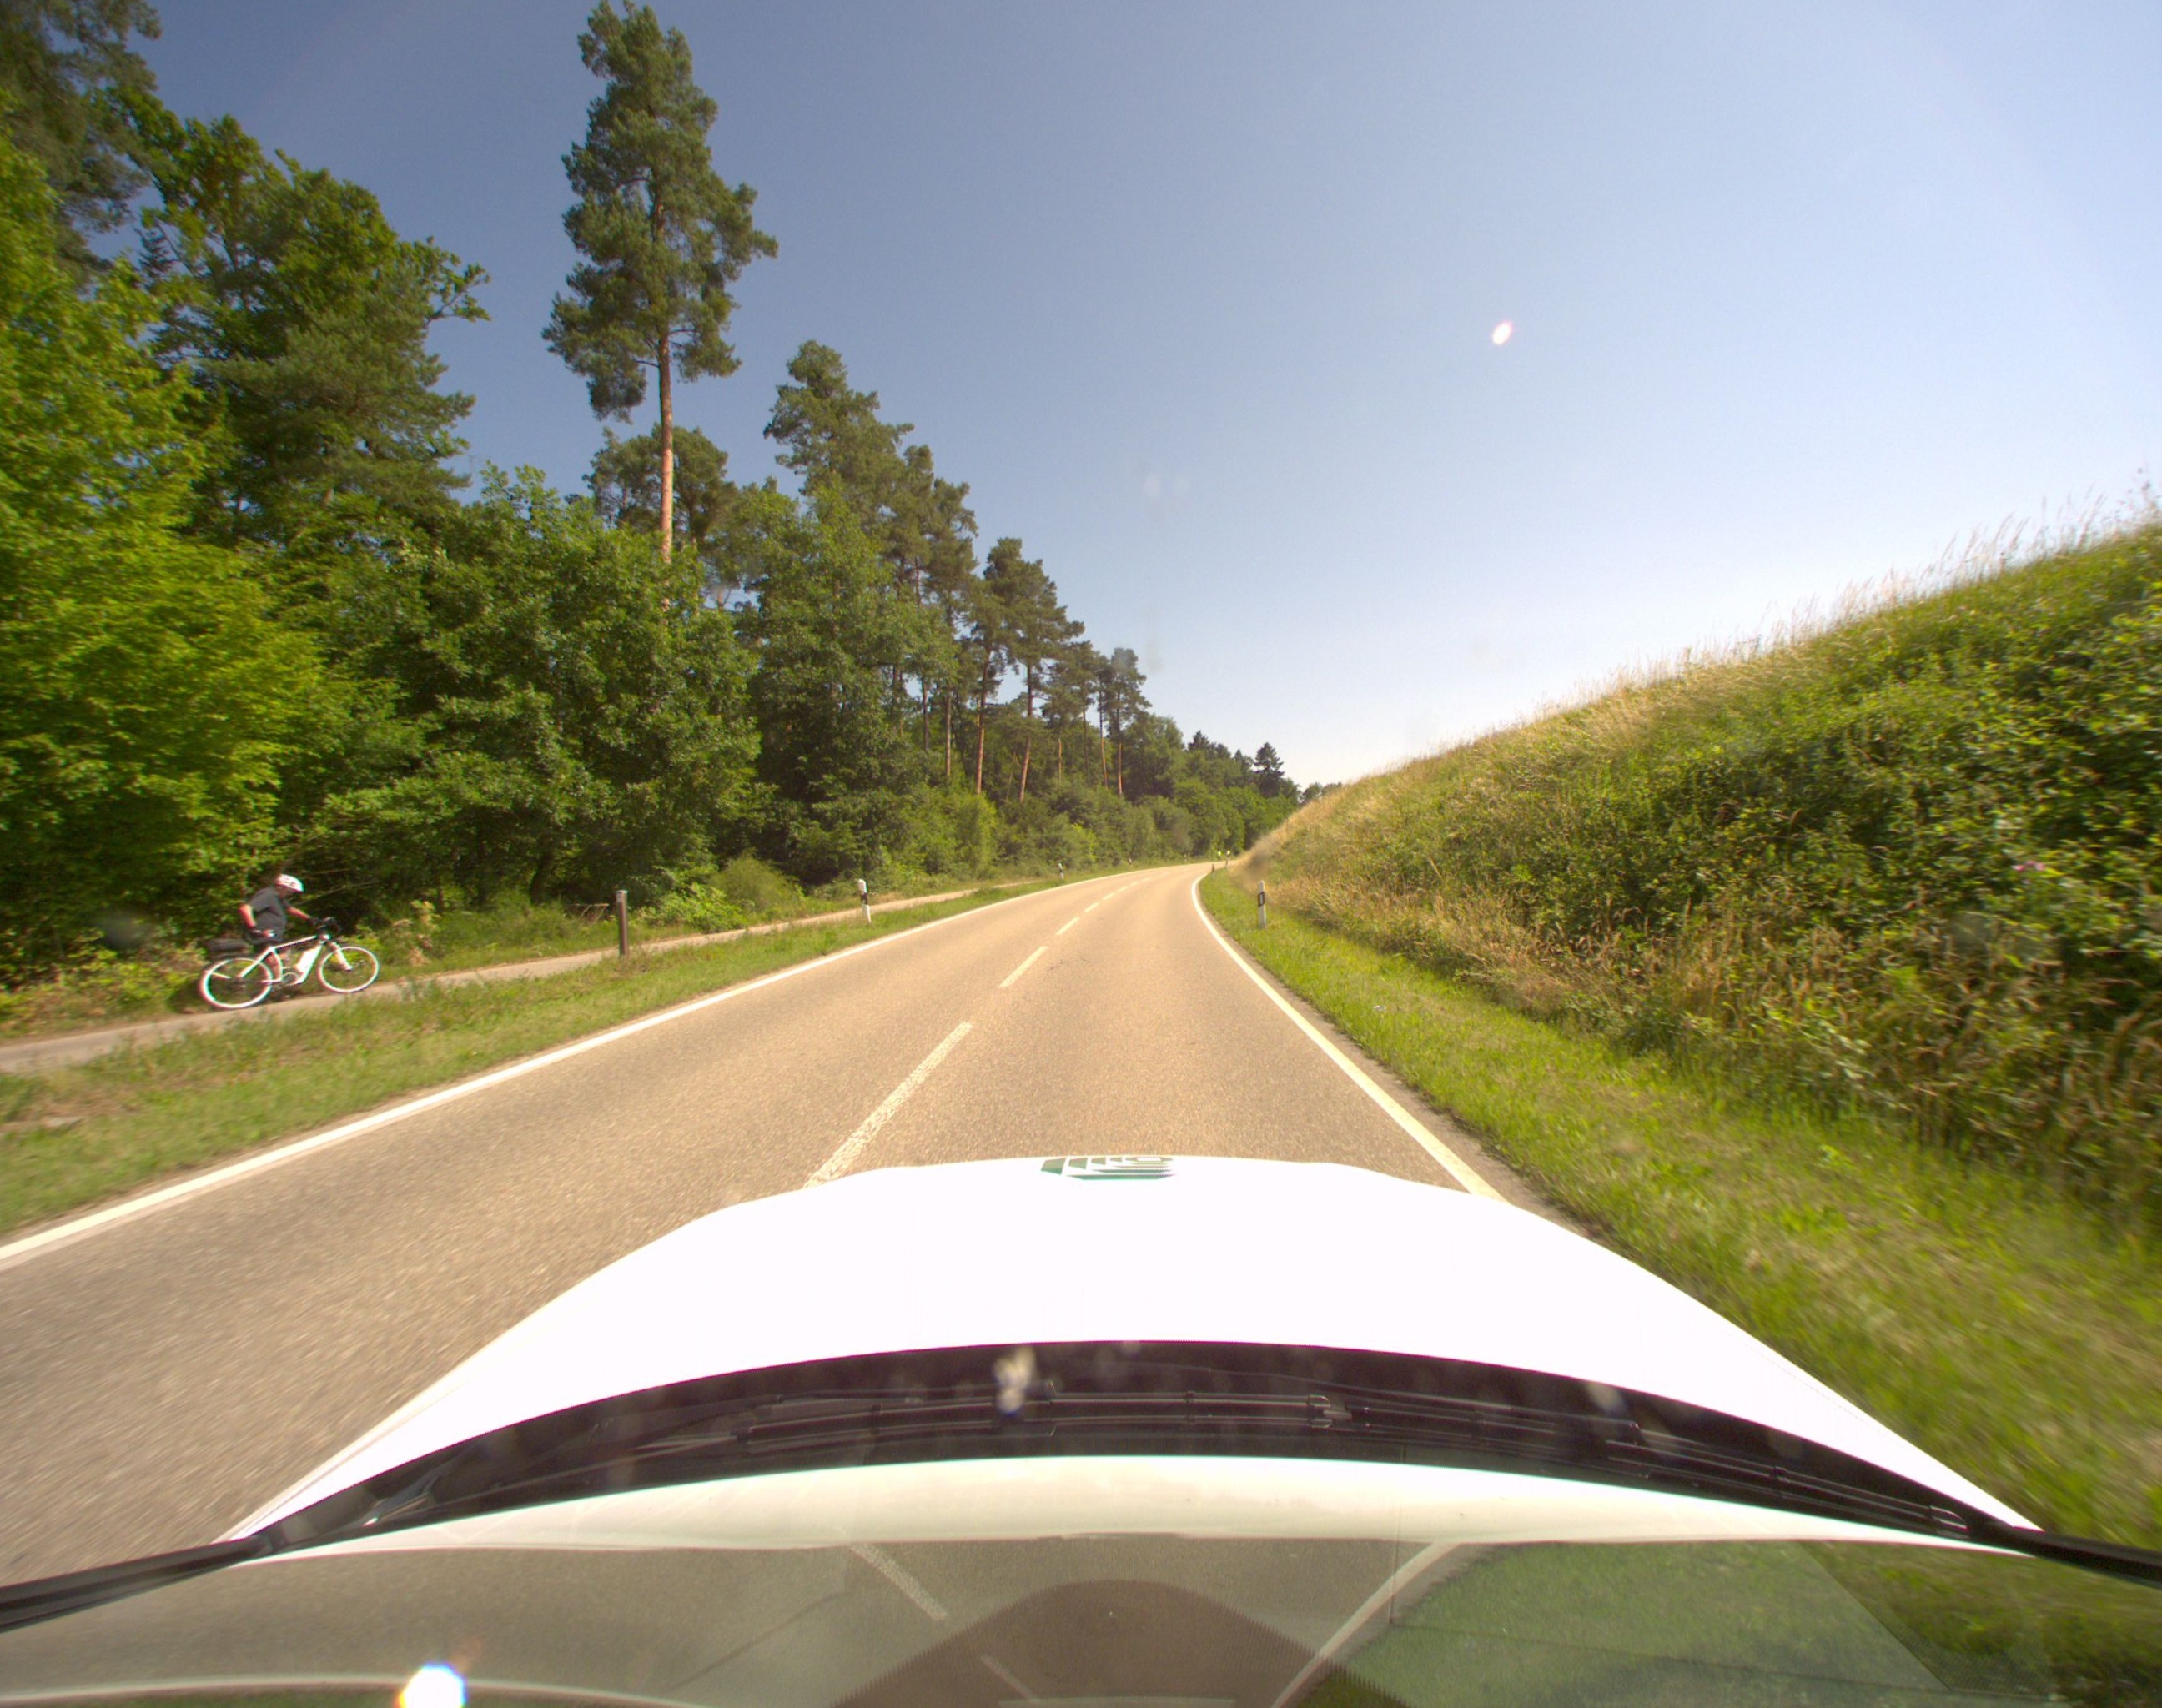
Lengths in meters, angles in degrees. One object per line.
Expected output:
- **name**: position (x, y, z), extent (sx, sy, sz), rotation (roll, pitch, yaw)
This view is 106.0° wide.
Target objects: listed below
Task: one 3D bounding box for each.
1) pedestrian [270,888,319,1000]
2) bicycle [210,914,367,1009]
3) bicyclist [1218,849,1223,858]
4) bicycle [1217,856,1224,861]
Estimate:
- **pedestrian**: position (-11.151, 1.264, 11.558), extent (0.283, 1.538, 0.390), rotation (-2, 0, -3)
- **bicycle**: position (-11.036, 1.461, 11.385), extent (0.575, 1.086, 1.456), rotation (1, 1, 31)
- **bicyclist**: position (21.869, -0.039, 127.946), extent (0.600, 1.415, 0.706), rotation (0, -1, 23)
- **bicycle**: position (21.850, 0.687, 127.912), extent (0.613, 0.681, 2.148), rotation (0, -1, 23)
